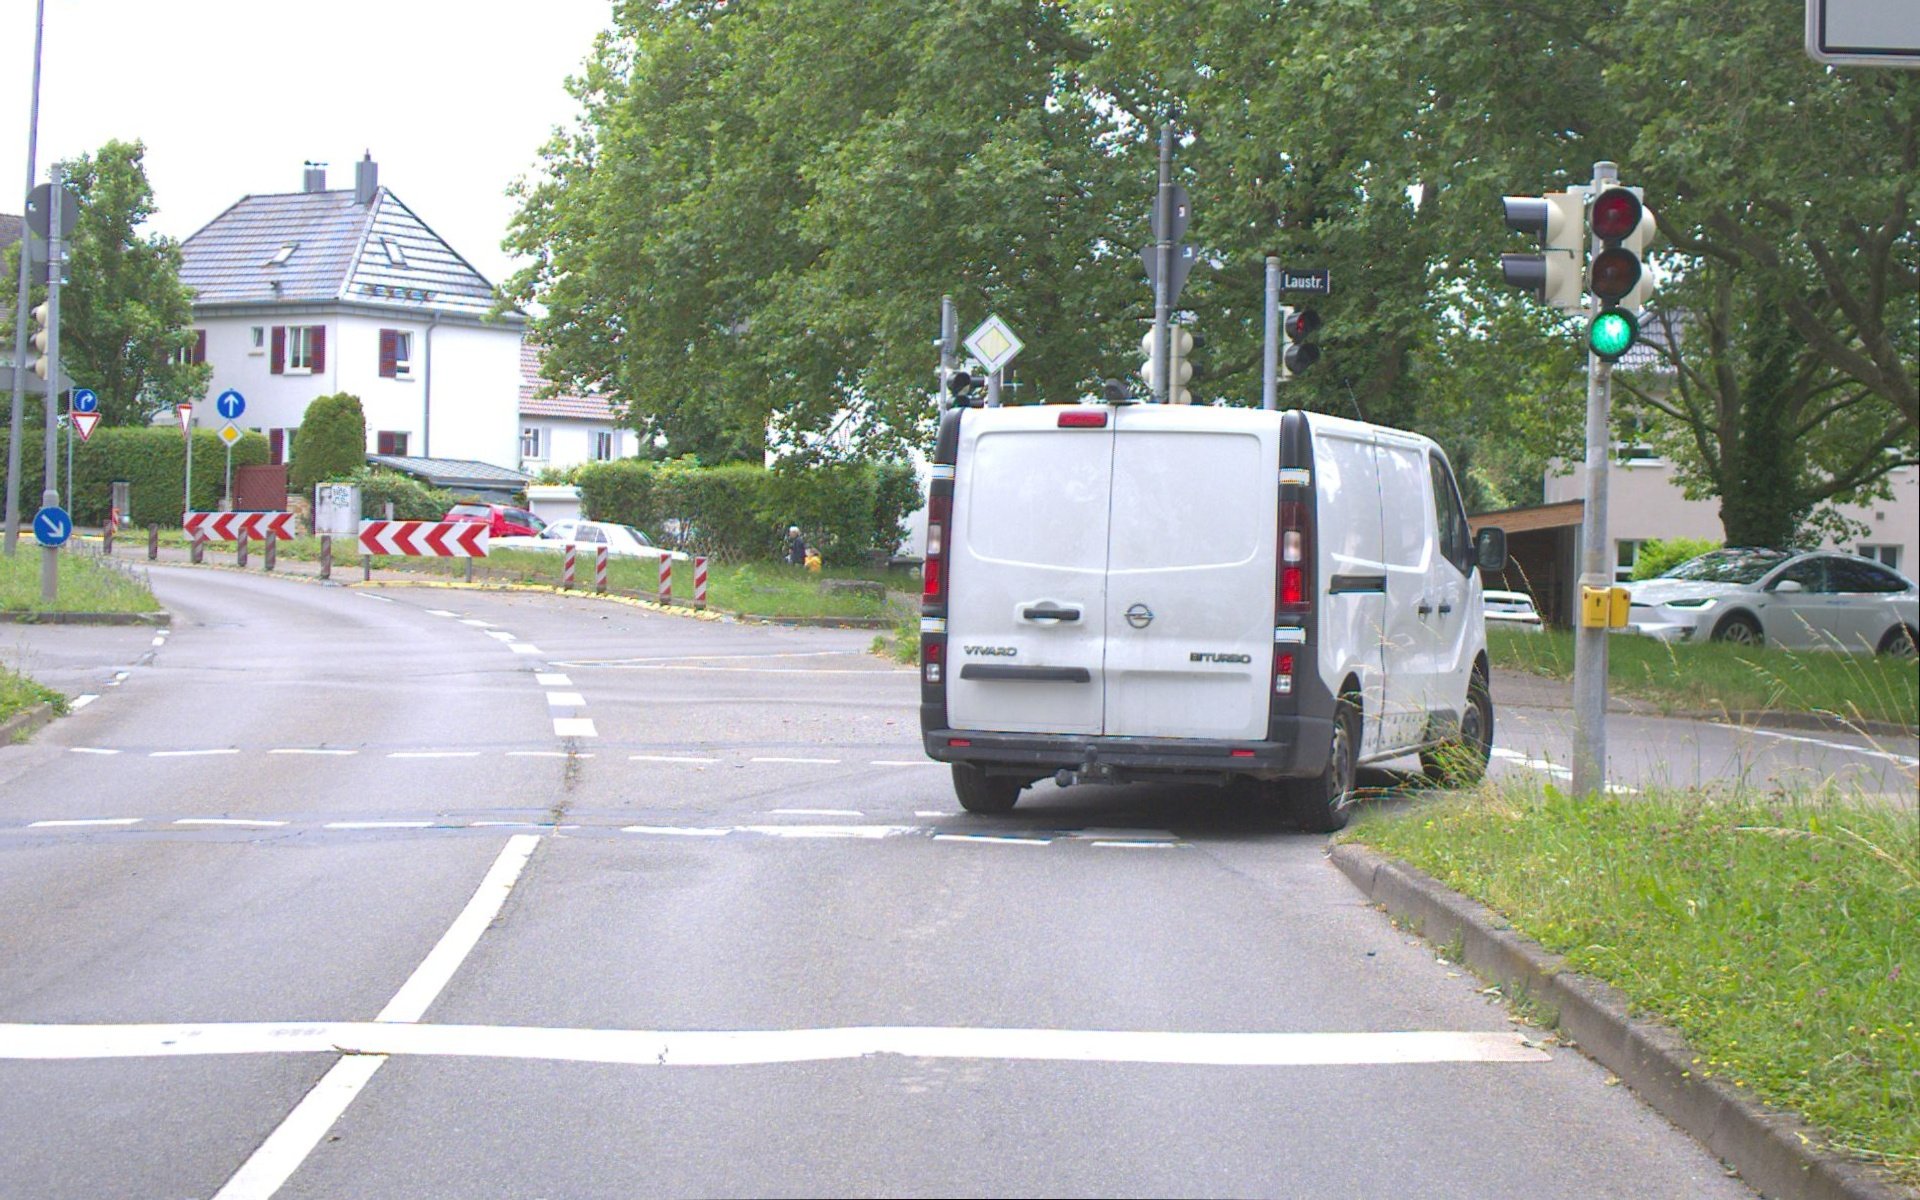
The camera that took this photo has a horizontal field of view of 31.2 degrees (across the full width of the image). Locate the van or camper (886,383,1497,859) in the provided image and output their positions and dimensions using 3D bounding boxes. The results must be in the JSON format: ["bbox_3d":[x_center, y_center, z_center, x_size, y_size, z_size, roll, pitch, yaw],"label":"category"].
[{"bbox_3d":[1.348,0.048,17.393,1.926,2.007,4.825,3,1,17],"label":"van or camper"}]

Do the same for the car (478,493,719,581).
[{"bbox_3d":[-8.109,-1.414,77.177,4.874,1.785,2.214,3,1,24],"label":"car"}]

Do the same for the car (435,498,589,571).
[{"bbox_3d":[-11.017,-1.606,84.750,1.608,1.512,3.817,4,0,32],"label":"car"}]

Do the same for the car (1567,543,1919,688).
[{"bbox_3d":[10.013,0.209,42.795,4.891,1.652,1.857,1,2,-35],"label":"car"}]
